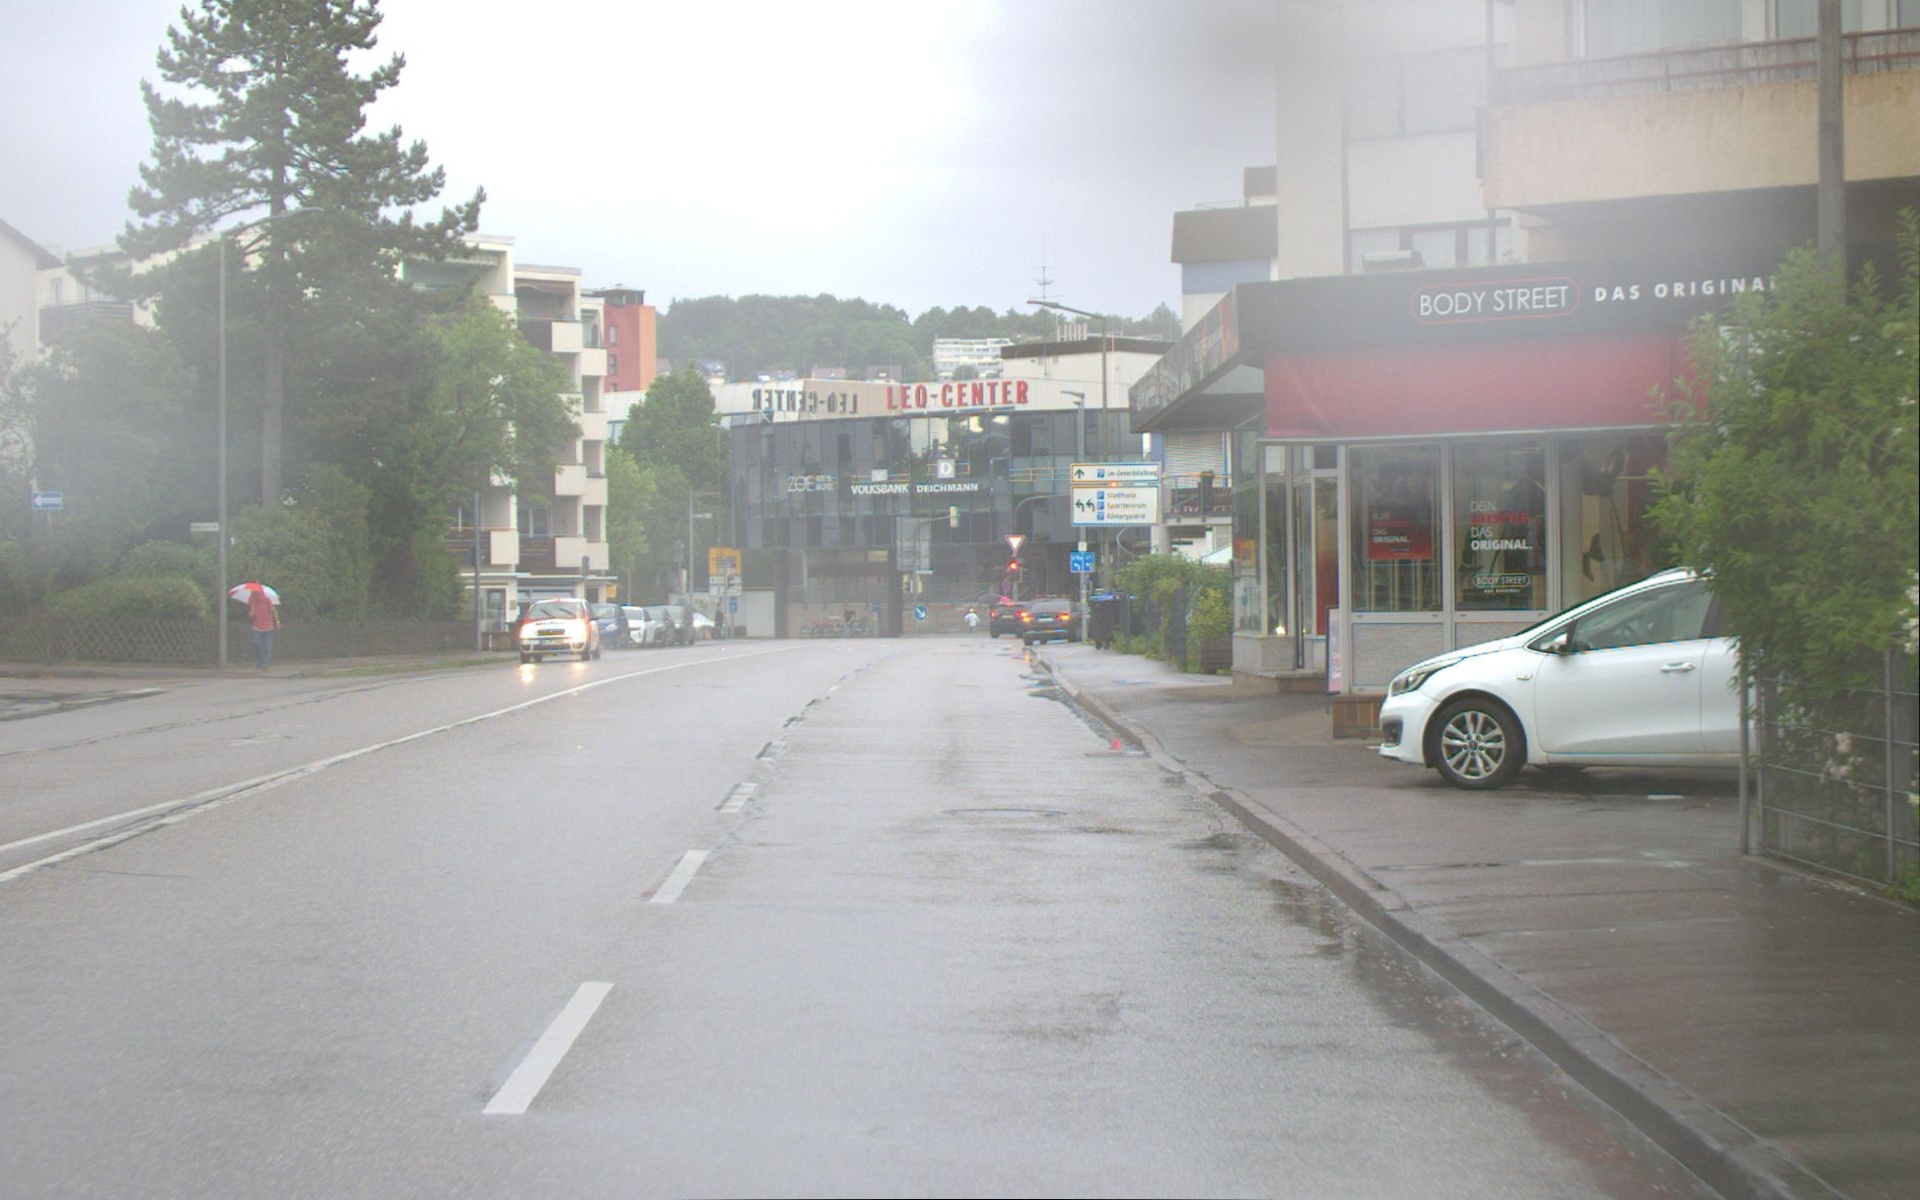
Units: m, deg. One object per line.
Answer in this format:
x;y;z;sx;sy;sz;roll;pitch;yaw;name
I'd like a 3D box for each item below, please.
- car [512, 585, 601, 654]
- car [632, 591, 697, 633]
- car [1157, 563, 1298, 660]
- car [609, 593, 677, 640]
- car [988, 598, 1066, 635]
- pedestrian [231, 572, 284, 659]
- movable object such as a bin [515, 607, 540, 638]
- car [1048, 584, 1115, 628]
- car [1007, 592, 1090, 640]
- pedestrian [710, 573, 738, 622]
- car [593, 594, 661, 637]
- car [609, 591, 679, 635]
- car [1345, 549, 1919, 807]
-9.406;0.433;80.383;1.697;1.404;4.001;-3;1;-2;car
-11.133;0.449;129.758;1.934;1.536;4.272;0;0;3;car
5.101;0.209;66.161;1.993;1.779;4.691;0;0;-4;car
-10.391;0.520;112.946;1.652;1.516;4.324;0;0;3;car
2.685;0.655;136.408;1.806;1.414;3.995;-1;0;22;car
-13.105;0.292;64.171;0.869;1.601;1.103;0;-1;-7;pedestrian
-13.703;0.707;108.913;0.648;0.962;0.682;-1;0;2;movable object such as a bin
4.363;0.212;123.131;1.699;1.481;3.998;-3;-1;11;car
3.034;0.549;116.900;1.994;1.528;4.644;1;-1;12;car
-10.115;-0.106;147.234;0.749;2.007;0.920;4;0;23;pedestrian
-11.505;0.539;118.999;1.693;1.459;4.683;0;0;3;car
-11.396;0.462;124.309;1.934;1.536;4.520;0;0;3;car
4.851;0.453;22.413;4.264;1.489;1.870;1;2;28;car
